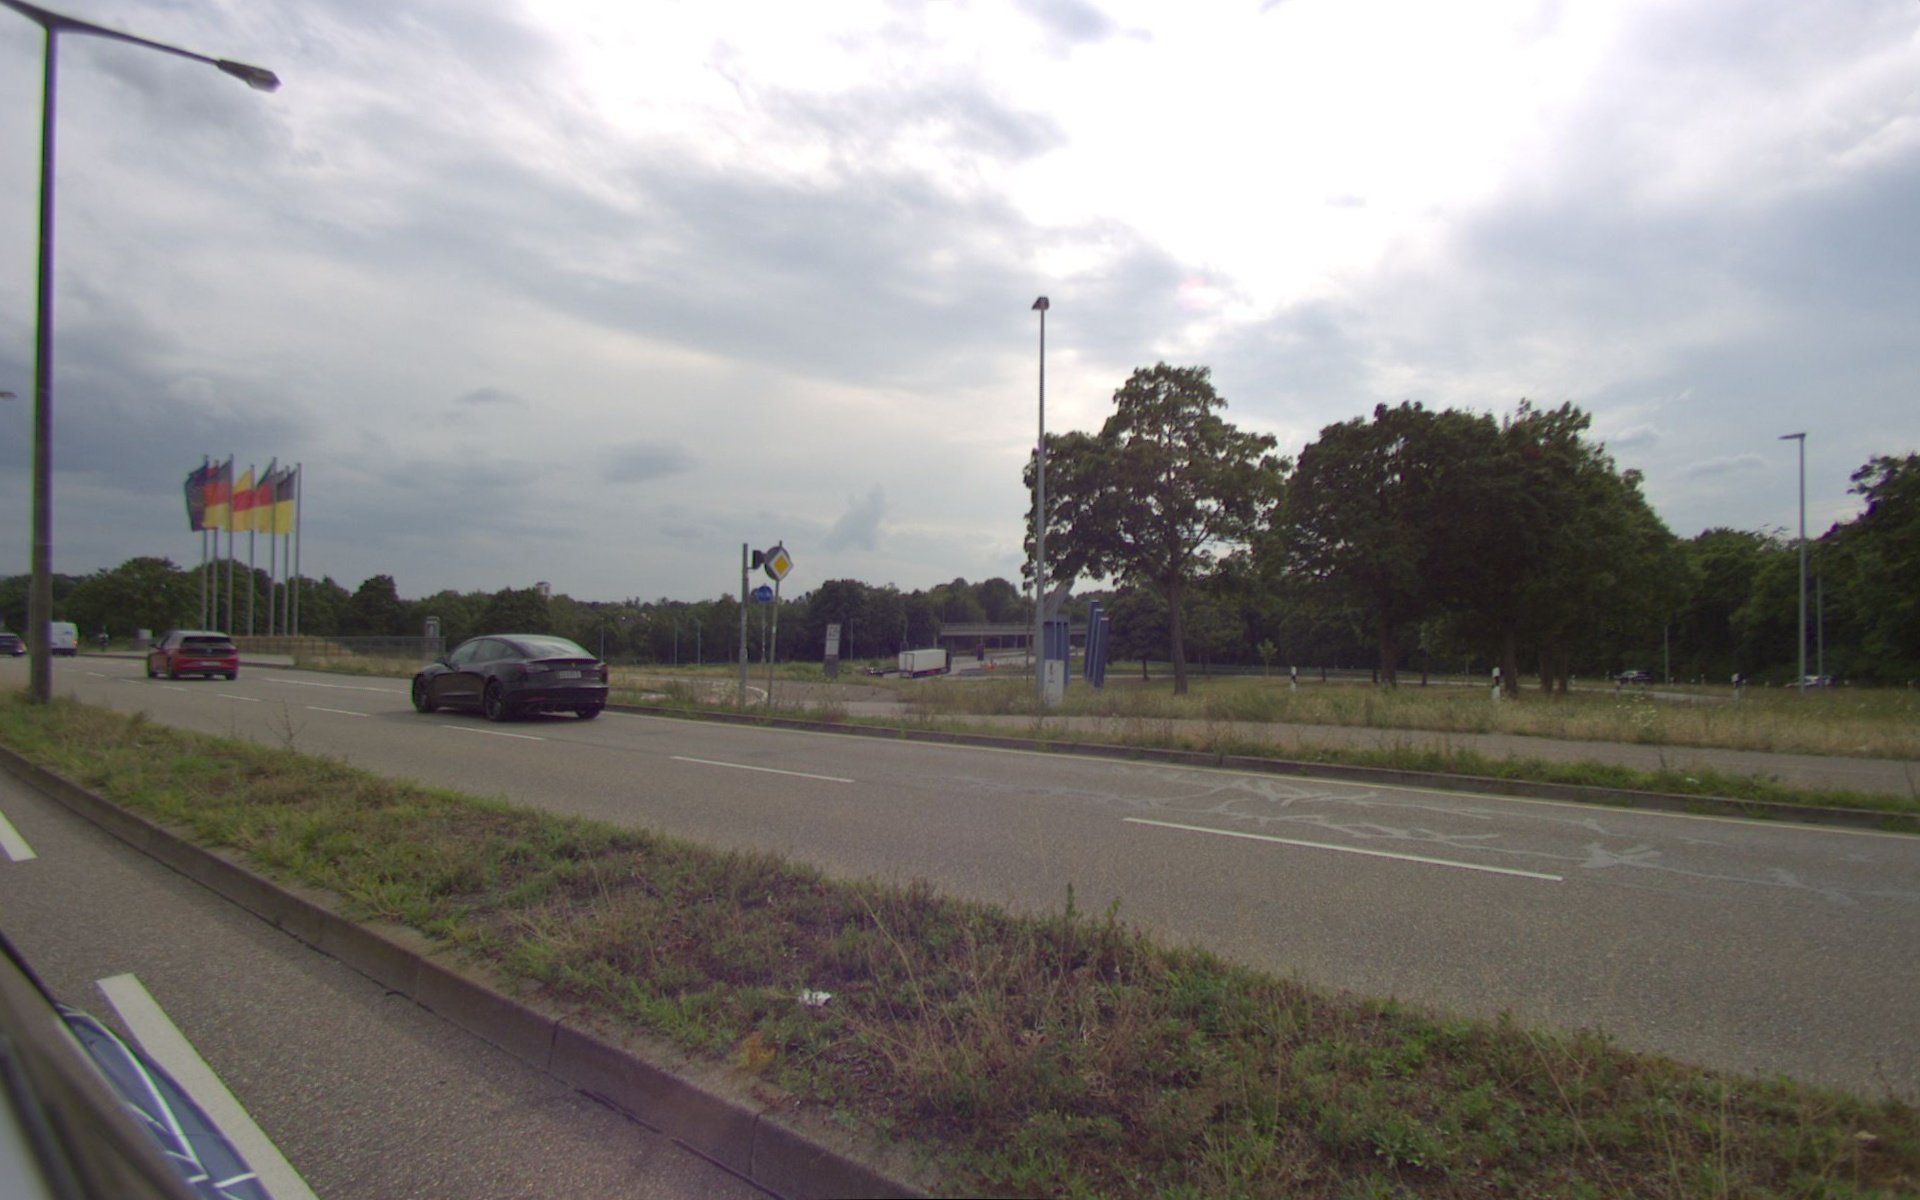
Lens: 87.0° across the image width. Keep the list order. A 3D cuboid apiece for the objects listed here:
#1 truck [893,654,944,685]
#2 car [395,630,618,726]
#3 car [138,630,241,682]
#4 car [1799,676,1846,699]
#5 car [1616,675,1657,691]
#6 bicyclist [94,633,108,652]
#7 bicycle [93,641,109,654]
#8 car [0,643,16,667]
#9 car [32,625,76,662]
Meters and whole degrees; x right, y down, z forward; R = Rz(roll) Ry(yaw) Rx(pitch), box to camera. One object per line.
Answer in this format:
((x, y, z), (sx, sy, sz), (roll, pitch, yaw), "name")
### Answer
((-6.464, 11.048, 162.492), (3.008, 4.376, 13.908), (-1, -2, 21), "truck")
((-8.043, 1.290, 17.767), (4.560, 1.487, 1.728), (-2, -3, 40), "car")
((-24.882, 1.797, 32.621), (4.334, 1.586, 1.634), (-2, -5, 40), "car")
((58.863, 5.963, 69.115), (1.567, 1.407, 3.842), (-1, -3, 27), "car")
((65.369, 7.980, 97.794), (1.554, 1.407, 3.873), (0, -3, 4), "car")
((-73.137, 3.606, 86.152), (0.975, 1.639, 0.787), (-2, -2, 39), "bicyclist")
((-73.111, 4.037, 86.139), (2.057, 1.057, 0.699), (-2, -2, 39), "bicycle")
((-65.378, 3.708, 68.550), (4.585, 1.597, 1.728), (-3, -5, 42), "car")
((-67.291, 3.241, 75.124), (2.029, 2.663, 6.404), (4, -5, -44), "car")
